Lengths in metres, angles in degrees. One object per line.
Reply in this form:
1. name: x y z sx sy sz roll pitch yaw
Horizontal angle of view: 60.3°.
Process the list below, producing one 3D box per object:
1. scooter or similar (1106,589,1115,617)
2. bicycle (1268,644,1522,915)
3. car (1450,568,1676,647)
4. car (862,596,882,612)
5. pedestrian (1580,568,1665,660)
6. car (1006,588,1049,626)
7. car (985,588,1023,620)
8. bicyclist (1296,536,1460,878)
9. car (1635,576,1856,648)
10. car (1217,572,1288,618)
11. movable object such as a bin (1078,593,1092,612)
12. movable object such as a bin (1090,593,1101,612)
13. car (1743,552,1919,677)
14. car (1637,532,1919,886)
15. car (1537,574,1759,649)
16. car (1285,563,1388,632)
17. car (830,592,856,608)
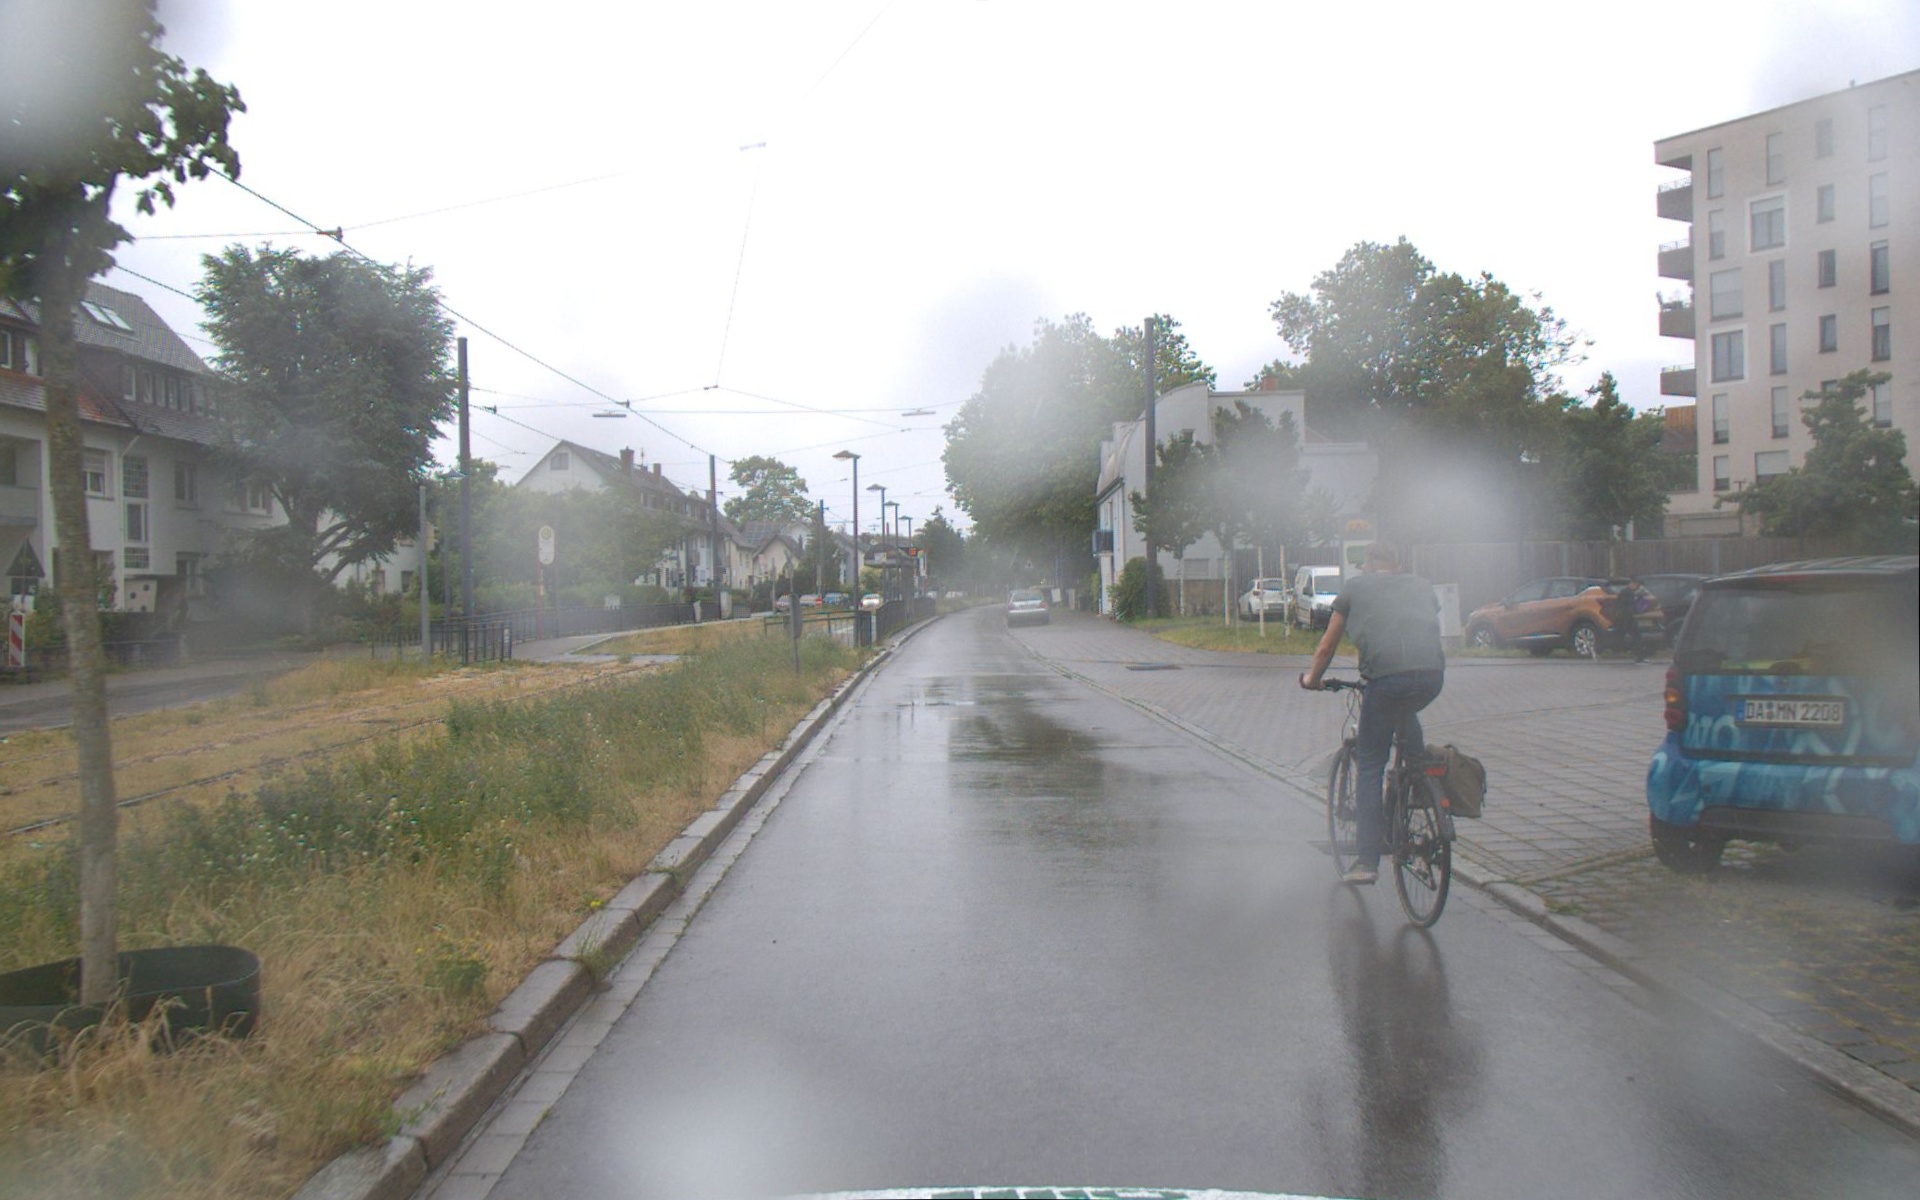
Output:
1. scooter or similar: 6.192 0.130 68.182 0.326 1.104 1.396 0 -1 6
2. bicycle: 2.038 0.788 8.026 0.526 1.112 1.946 0 -1 -6
3. car: 11.924 0.168 32.945 1.971 1.466 3.963 0 -1 -28
4. car: -8.871 0.430 166.812 1.599 1.519 4.001 0 -1 2
5. pedestrian: 11.456 0.244 28.620 0.826 1.544 1.084 0 -1 -30
6. car: 2.808 0.309 69.404 1.616 1.429 4.650 -4 -1 1
7. car: 2.265 0.232 85.400 1.770 1.493 3.794 -4 -1 1
8. bicyclist: 2.029 0.497 8.091 0.524 1.587 0.771 0 -1 -7
9. car: 16.959 0.273 35.889 1.971 1.466 3.963 0 -1 -28
10. car: 10.357 -0.208 58.769 1.922 1.561 4.365 0 1 2
11. movable object such as a bin: 7.141 0.166 94.814 0.678 1.039 0.824 -3 0 0
12. movable object such as a bin: 7.686 0.160 94.081 0.525 1.039 0.739 -3 -1 0
13. car: 13.236 0.175 23.636 4.058 1.645 1.796 0 1 -31
14. car: 4.895 0.466 8.581 2.542 1.575 1.579 -2 0 -41
15. car: 14.273 0.247 34.510 1.971 1.466 3.963 0 -1 -28
16. car: 10.465 -0.108 46.313 1.922 1.815 4.899 0 1 2
17. car: -11.353 0.044 160.520 1.888 1.512 4.002 0 -1 4
